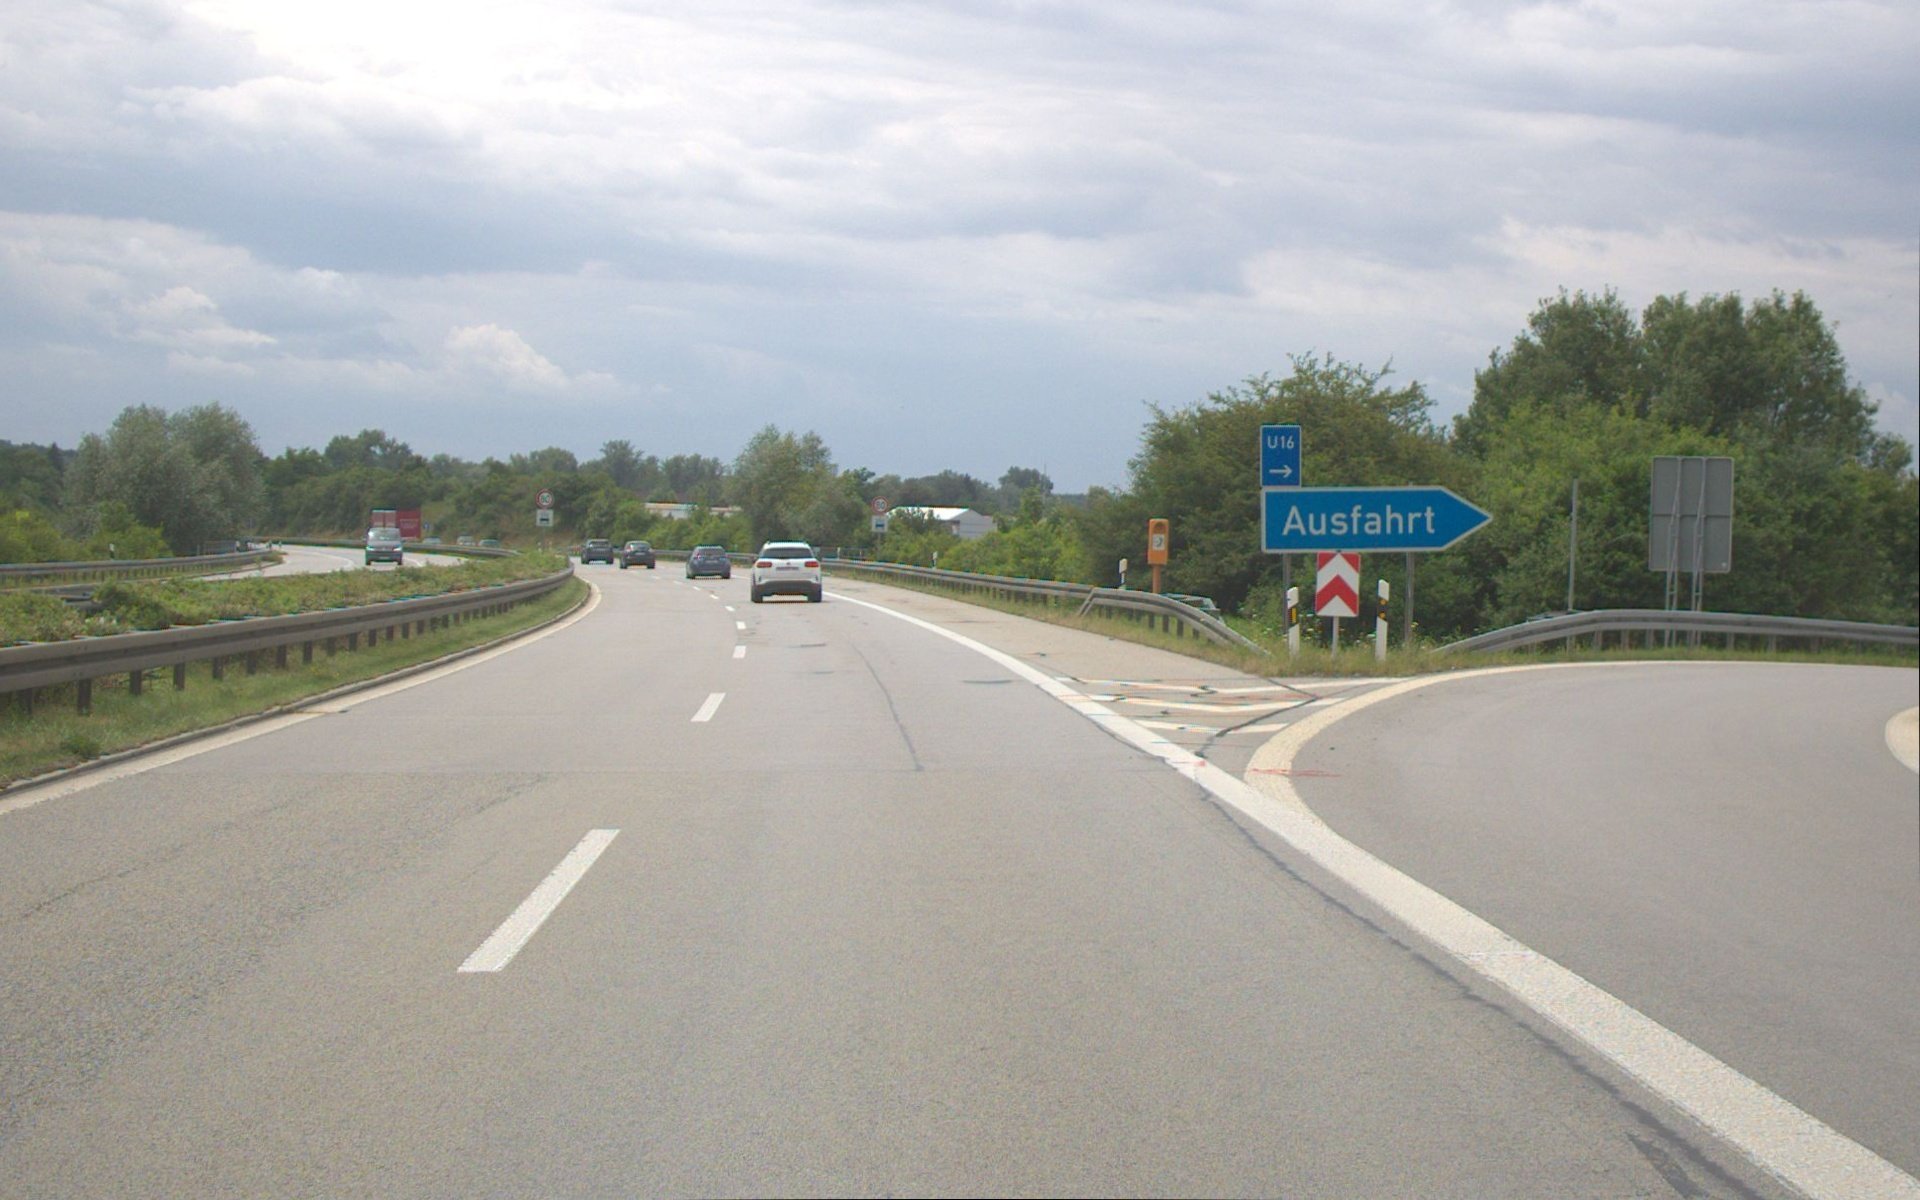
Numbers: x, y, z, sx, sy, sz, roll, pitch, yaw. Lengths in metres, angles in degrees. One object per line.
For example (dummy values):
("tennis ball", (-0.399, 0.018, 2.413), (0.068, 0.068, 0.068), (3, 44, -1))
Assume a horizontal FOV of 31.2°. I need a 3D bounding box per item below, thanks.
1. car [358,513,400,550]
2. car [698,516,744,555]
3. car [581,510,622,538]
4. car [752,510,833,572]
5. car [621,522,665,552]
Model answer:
("car", (-30.328, -3.575, 179.551), (1.700, 1.878, 5.229), (1, 1, -5))
("car", (-10.493, -2.839, 150.814), (1.892, 1.634, 4.623), (-1, 1, -5))
("car", (-23.235, -4.925, 222.620), (1.826, 1.787, 4.415), (1, 1, -17))
("car", (-4.642, -1.643, 94.810), (1.902, 1.634, 4.397), (1, 1, -7))
("car", (-17.892, -3.588, 194.110), (1.902, 1.634, 4.781), (1, 1, -12))
